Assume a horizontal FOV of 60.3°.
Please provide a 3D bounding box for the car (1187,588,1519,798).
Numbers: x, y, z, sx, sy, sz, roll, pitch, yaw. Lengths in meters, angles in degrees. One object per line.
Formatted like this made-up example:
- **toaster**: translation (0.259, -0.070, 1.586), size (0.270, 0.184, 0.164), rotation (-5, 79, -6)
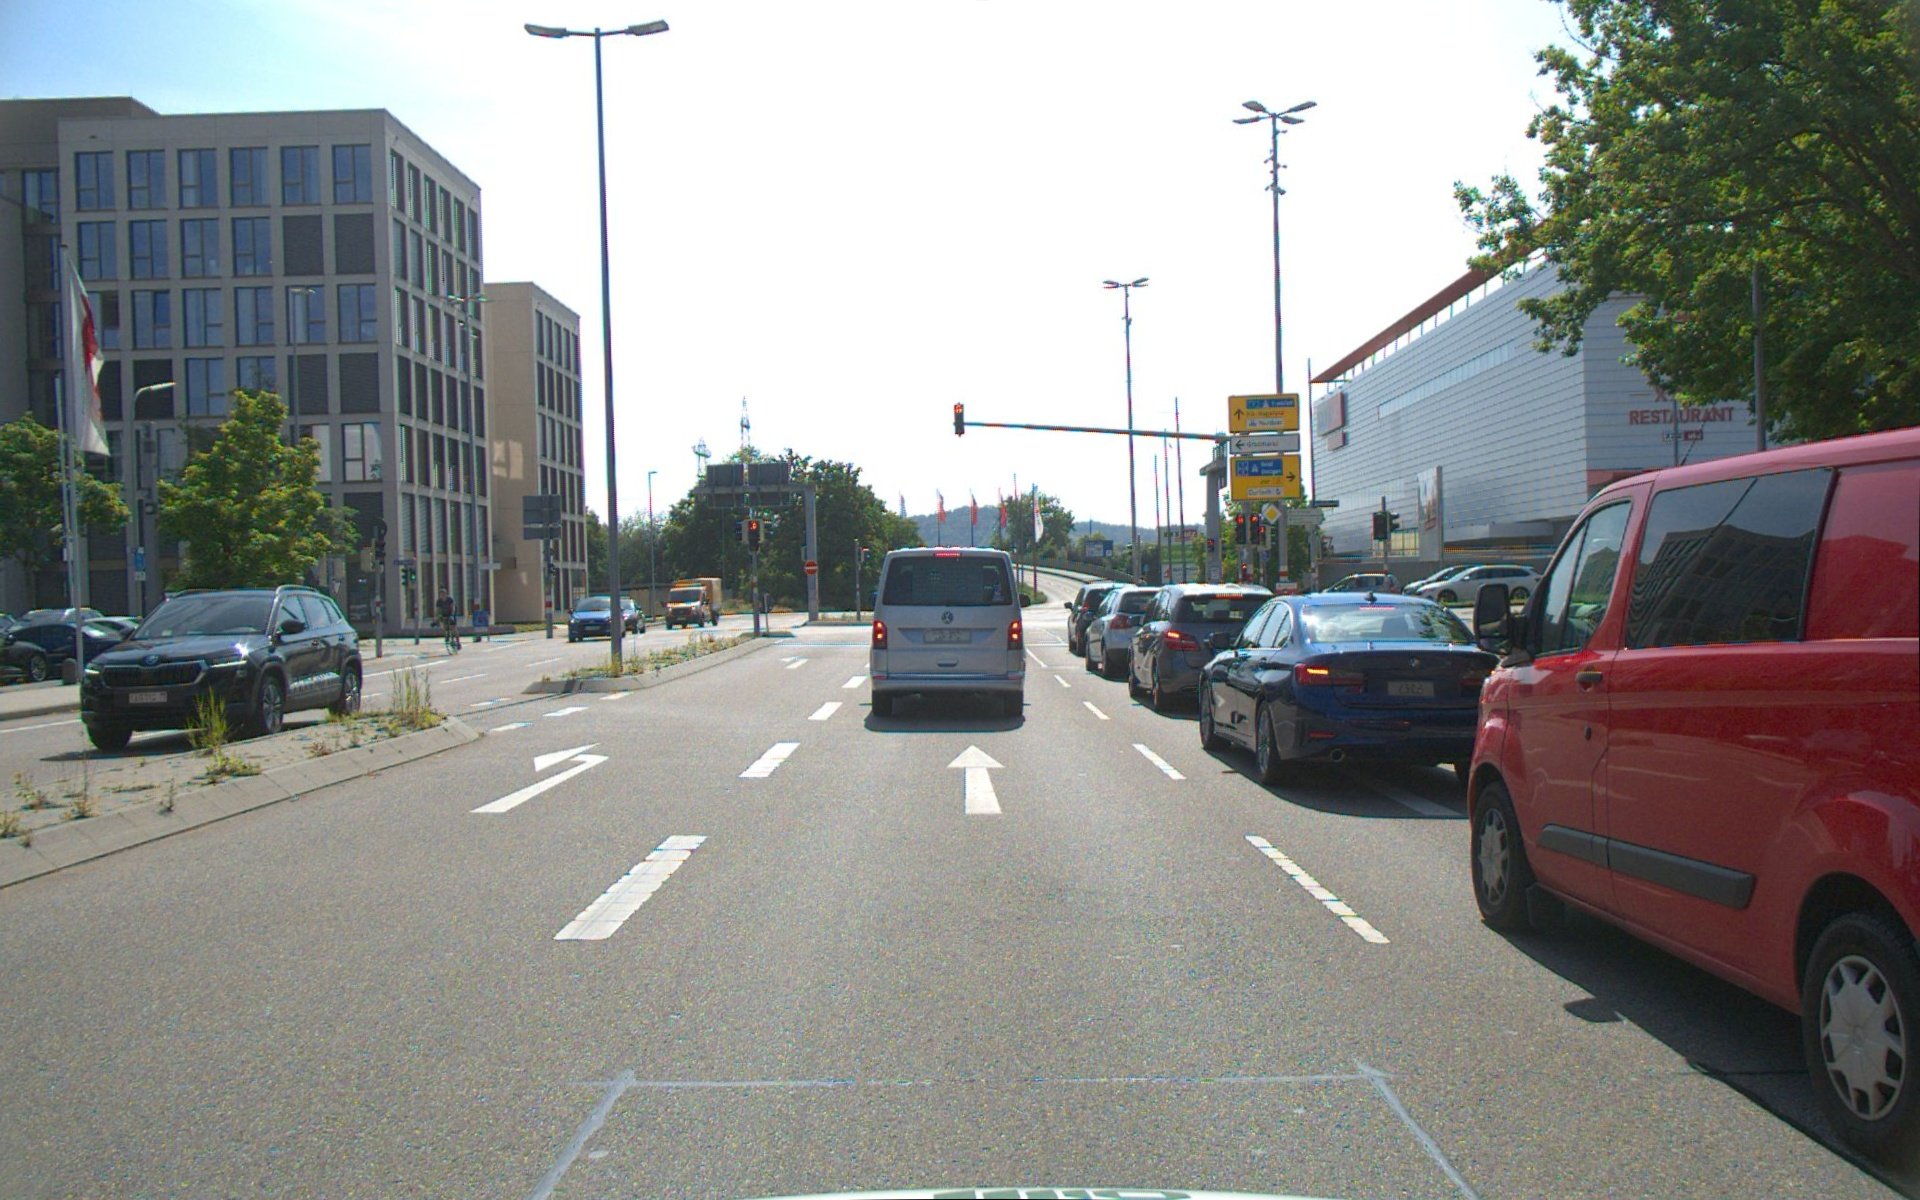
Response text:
- **car**: translation (3.105, 0.643, 14.006), size (1.711, 1.484, 4.475), rotation (0, 0, -1)

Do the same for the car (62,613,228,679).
- **car**: translation (-21.772, 1.204, 44.266), size (3.521, 1.381, 1.640), rotation (-5, 1, 0)

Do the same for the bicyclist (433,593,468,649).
- **bicyclist**: translation (-14.368, 0.595, 46.662), size (0.617, 1.527, 1.028), rotation (-2, 0, -1)

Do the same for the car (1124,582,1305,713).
- **car**: translation (3.239, 0.550, 21.762), size (1.711, 1.543, 4.077), rotation (0, 0, -1)

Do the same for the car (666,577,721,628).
- **car**: translation (-14.614, 0.128, 91.103), size (2.358, 2.605, 6.888), rotation (-2, 0, -5)

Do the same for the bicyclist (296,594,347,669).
- **bicyclist**: translation (-13.710, 0.672, 35.532), size (0.606, 1.553, 1.036), rotation (-3, 0, 0)

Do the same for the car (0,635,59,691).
- **car**: translation (-22.637, 1.540, 38.056), size (1.819, 1.194, 3.429), rotation (-5, 1, 0)

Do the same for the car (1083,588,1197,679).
- **car**: translation (3.091, 0.529, 29.034), size (1.546, 1.483, 3.785), rotation (0, 0, -1)

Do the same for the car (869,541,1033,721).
- **car**: translation (-0.113, 0.338, 20.695), size (1.846, 2.025, 4.000), rotation (0, 0, 0)

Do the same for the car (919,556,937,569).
- **car**: translation (-5.027, -5.968, 262.022), size (1.961, 2.049, 3.984), rotation (0, 0, -15)

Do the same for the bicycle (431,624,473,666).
- **bicycle**: translation (-14.340, 1.263, 46.759), size (0.573, 1.069, 1.876), rotation (-3, 0, -1)

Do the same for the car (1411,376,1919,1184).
- **car**: translation (3.320, 0.428, 6.003), size (1.927, 2.002, 5.125), rotation (0, 0, -1)

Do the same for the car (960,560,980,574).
- **car**: translation (1.421, -4.939, 246.376), size (1.961, 2.049, 3.984), rotation (0, 0, -15)

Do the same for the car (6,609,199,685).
- **car**: translation (-21.675, 1.172, 41.928), size (3.795, 1.490, 1.868), rotation (-5, 1, 1)

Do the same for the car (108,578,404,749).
- **car**: translation (-8.027, 0.648, 19.308), size (1.704, 1.646, 4.207), rotation (-4, 0, -3)

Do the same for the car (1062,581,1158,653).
- **car**: translation (3.387, 0.358, 38.004), size (1.798, 1.552, 4.000), rotation (0, 0, -1)

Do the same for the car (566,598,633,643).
- **car**: translation (-12.580, 0.686, 57.895), size (1.648, 1.381, 3.839), rotation (-2, 2, -3)

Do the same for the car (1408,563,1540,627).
- **car**: translation (18.916, -0.193, 61.031), size (4.310, 2.029, 1.482), rotation (-4, 0, 4)

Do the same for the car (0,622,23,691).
- **car**: translation (-21.706, 1.347, 33.999), size (3.794, 1.388, 1.750), rotation (-5, 1, 3)

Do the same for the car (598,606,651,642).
- **car**: translation (-14.438, 1.009, 71.437), size (1.545, 1.434, 4.377), rotation (-2, 0, -3)
